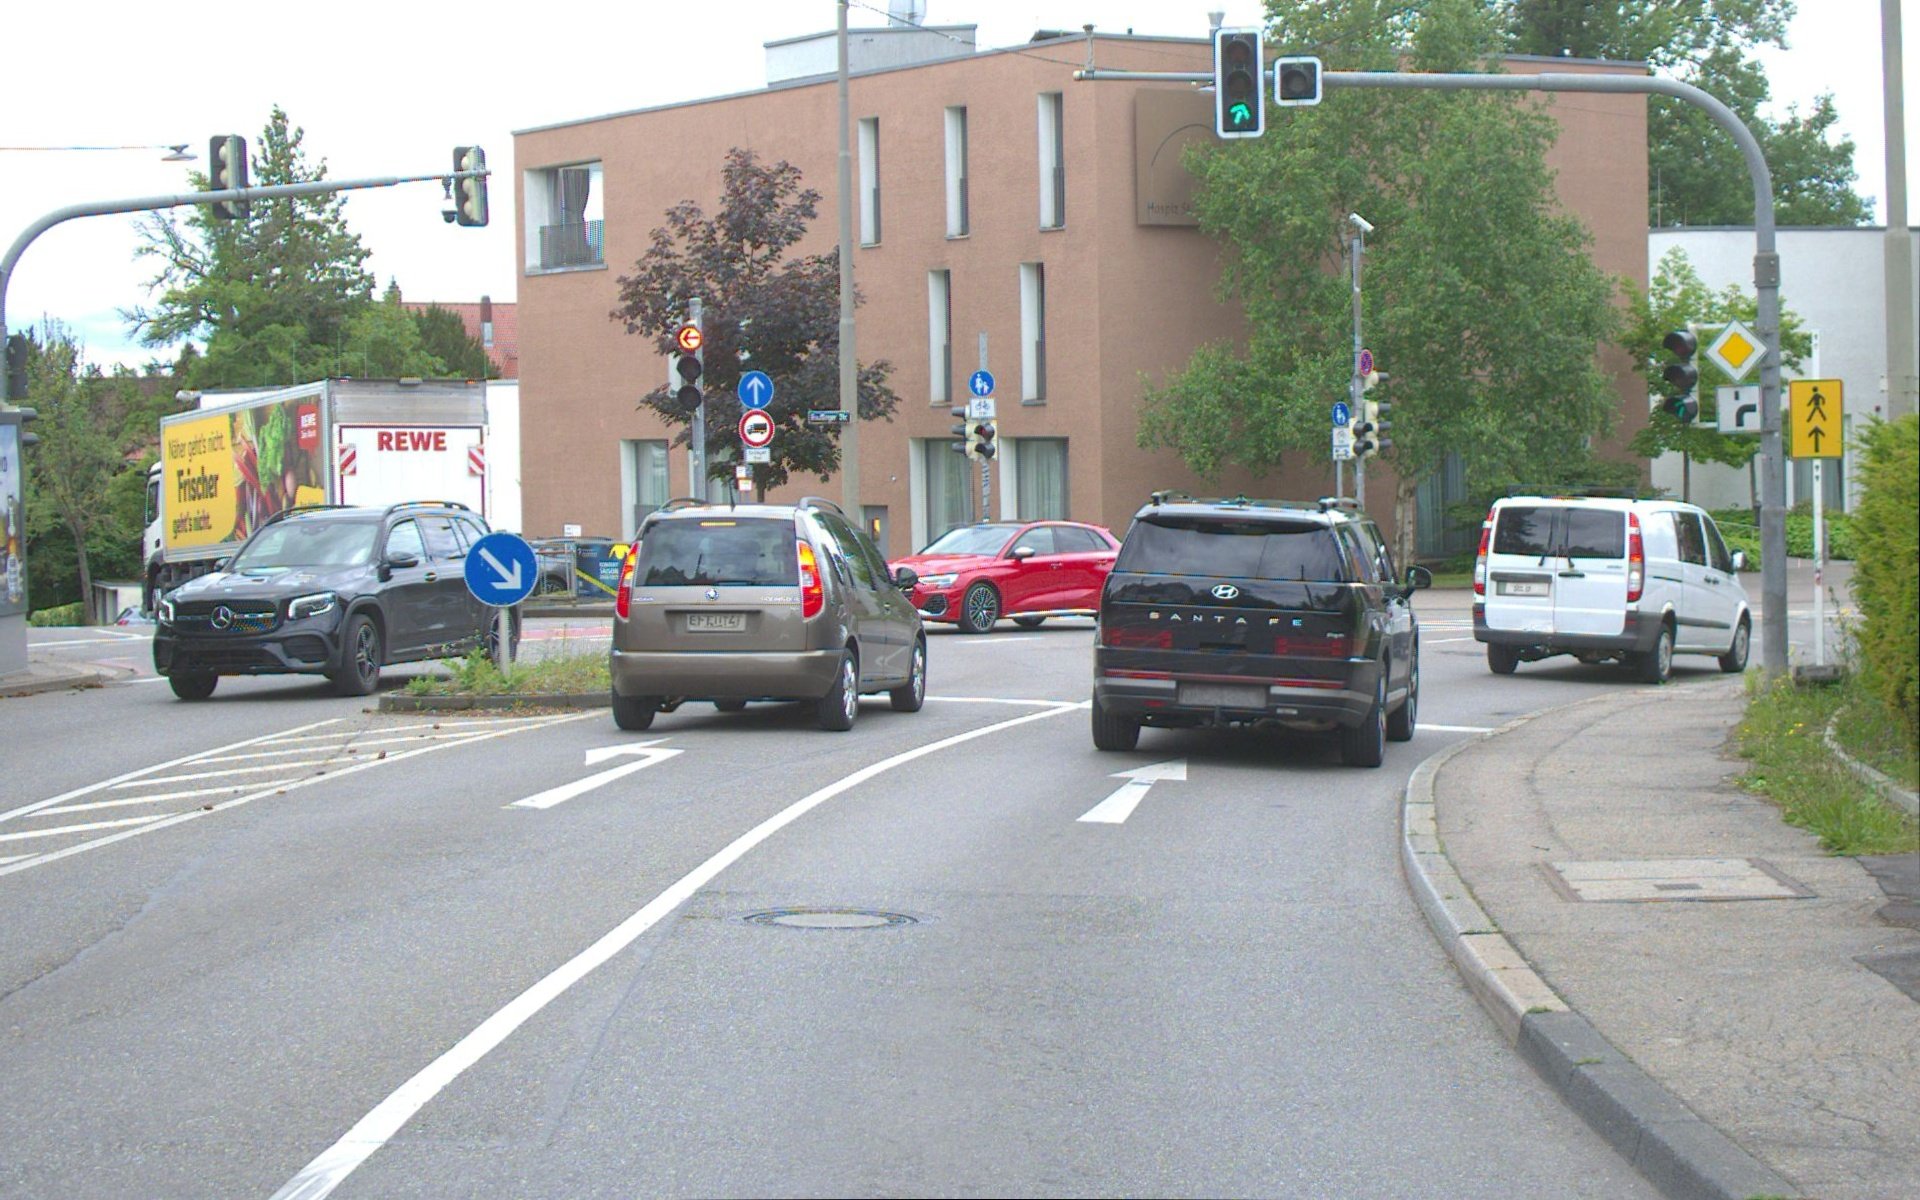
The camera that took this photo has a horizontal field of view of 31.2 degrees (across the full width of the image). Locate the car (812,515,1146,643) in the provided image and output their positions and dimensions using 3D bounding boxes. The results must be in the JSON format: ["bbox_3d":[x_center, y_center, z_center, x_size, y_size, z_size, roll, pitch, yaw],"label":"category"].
[{"bbox_3d":[0.292,-0.303,44.366,1.998,1.559,4.208,1,2,43],"label":"car"}]

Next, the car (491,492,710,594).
[{"bbox_3d":[-7.410,-1.184,70.906,3.987,2.007,2.000,-2,2,-28],"label":"car"}]

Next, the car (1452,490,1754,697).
[{"bbox_3d":[6.958,-0.139,36.860,1.965,2.006,4.422,3,3,27],"label":"car"}]

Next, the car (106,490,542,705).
[{"bbox_3d":[-5.665,-0.040,31.264,1.995,1.791,4.517,-1,0,17],"label":"car"}]

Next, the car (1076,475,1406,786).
[{"bbox_3d":[1.952,0.144,23.526,1.994,1.875,3.999,2,1,6],"label":"car"}]

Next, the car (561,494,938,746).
[{"bbox_3d":[-1.461,0.094,25.441,1.894,1.700,3.999,-1,1,10],"label":"car"}]

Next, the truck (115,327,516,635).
[{"bbox_3d":[-11.241,-1.969,58.601,3.125,4.718,11.796,-2,2,-29],"label":"truck"}]
